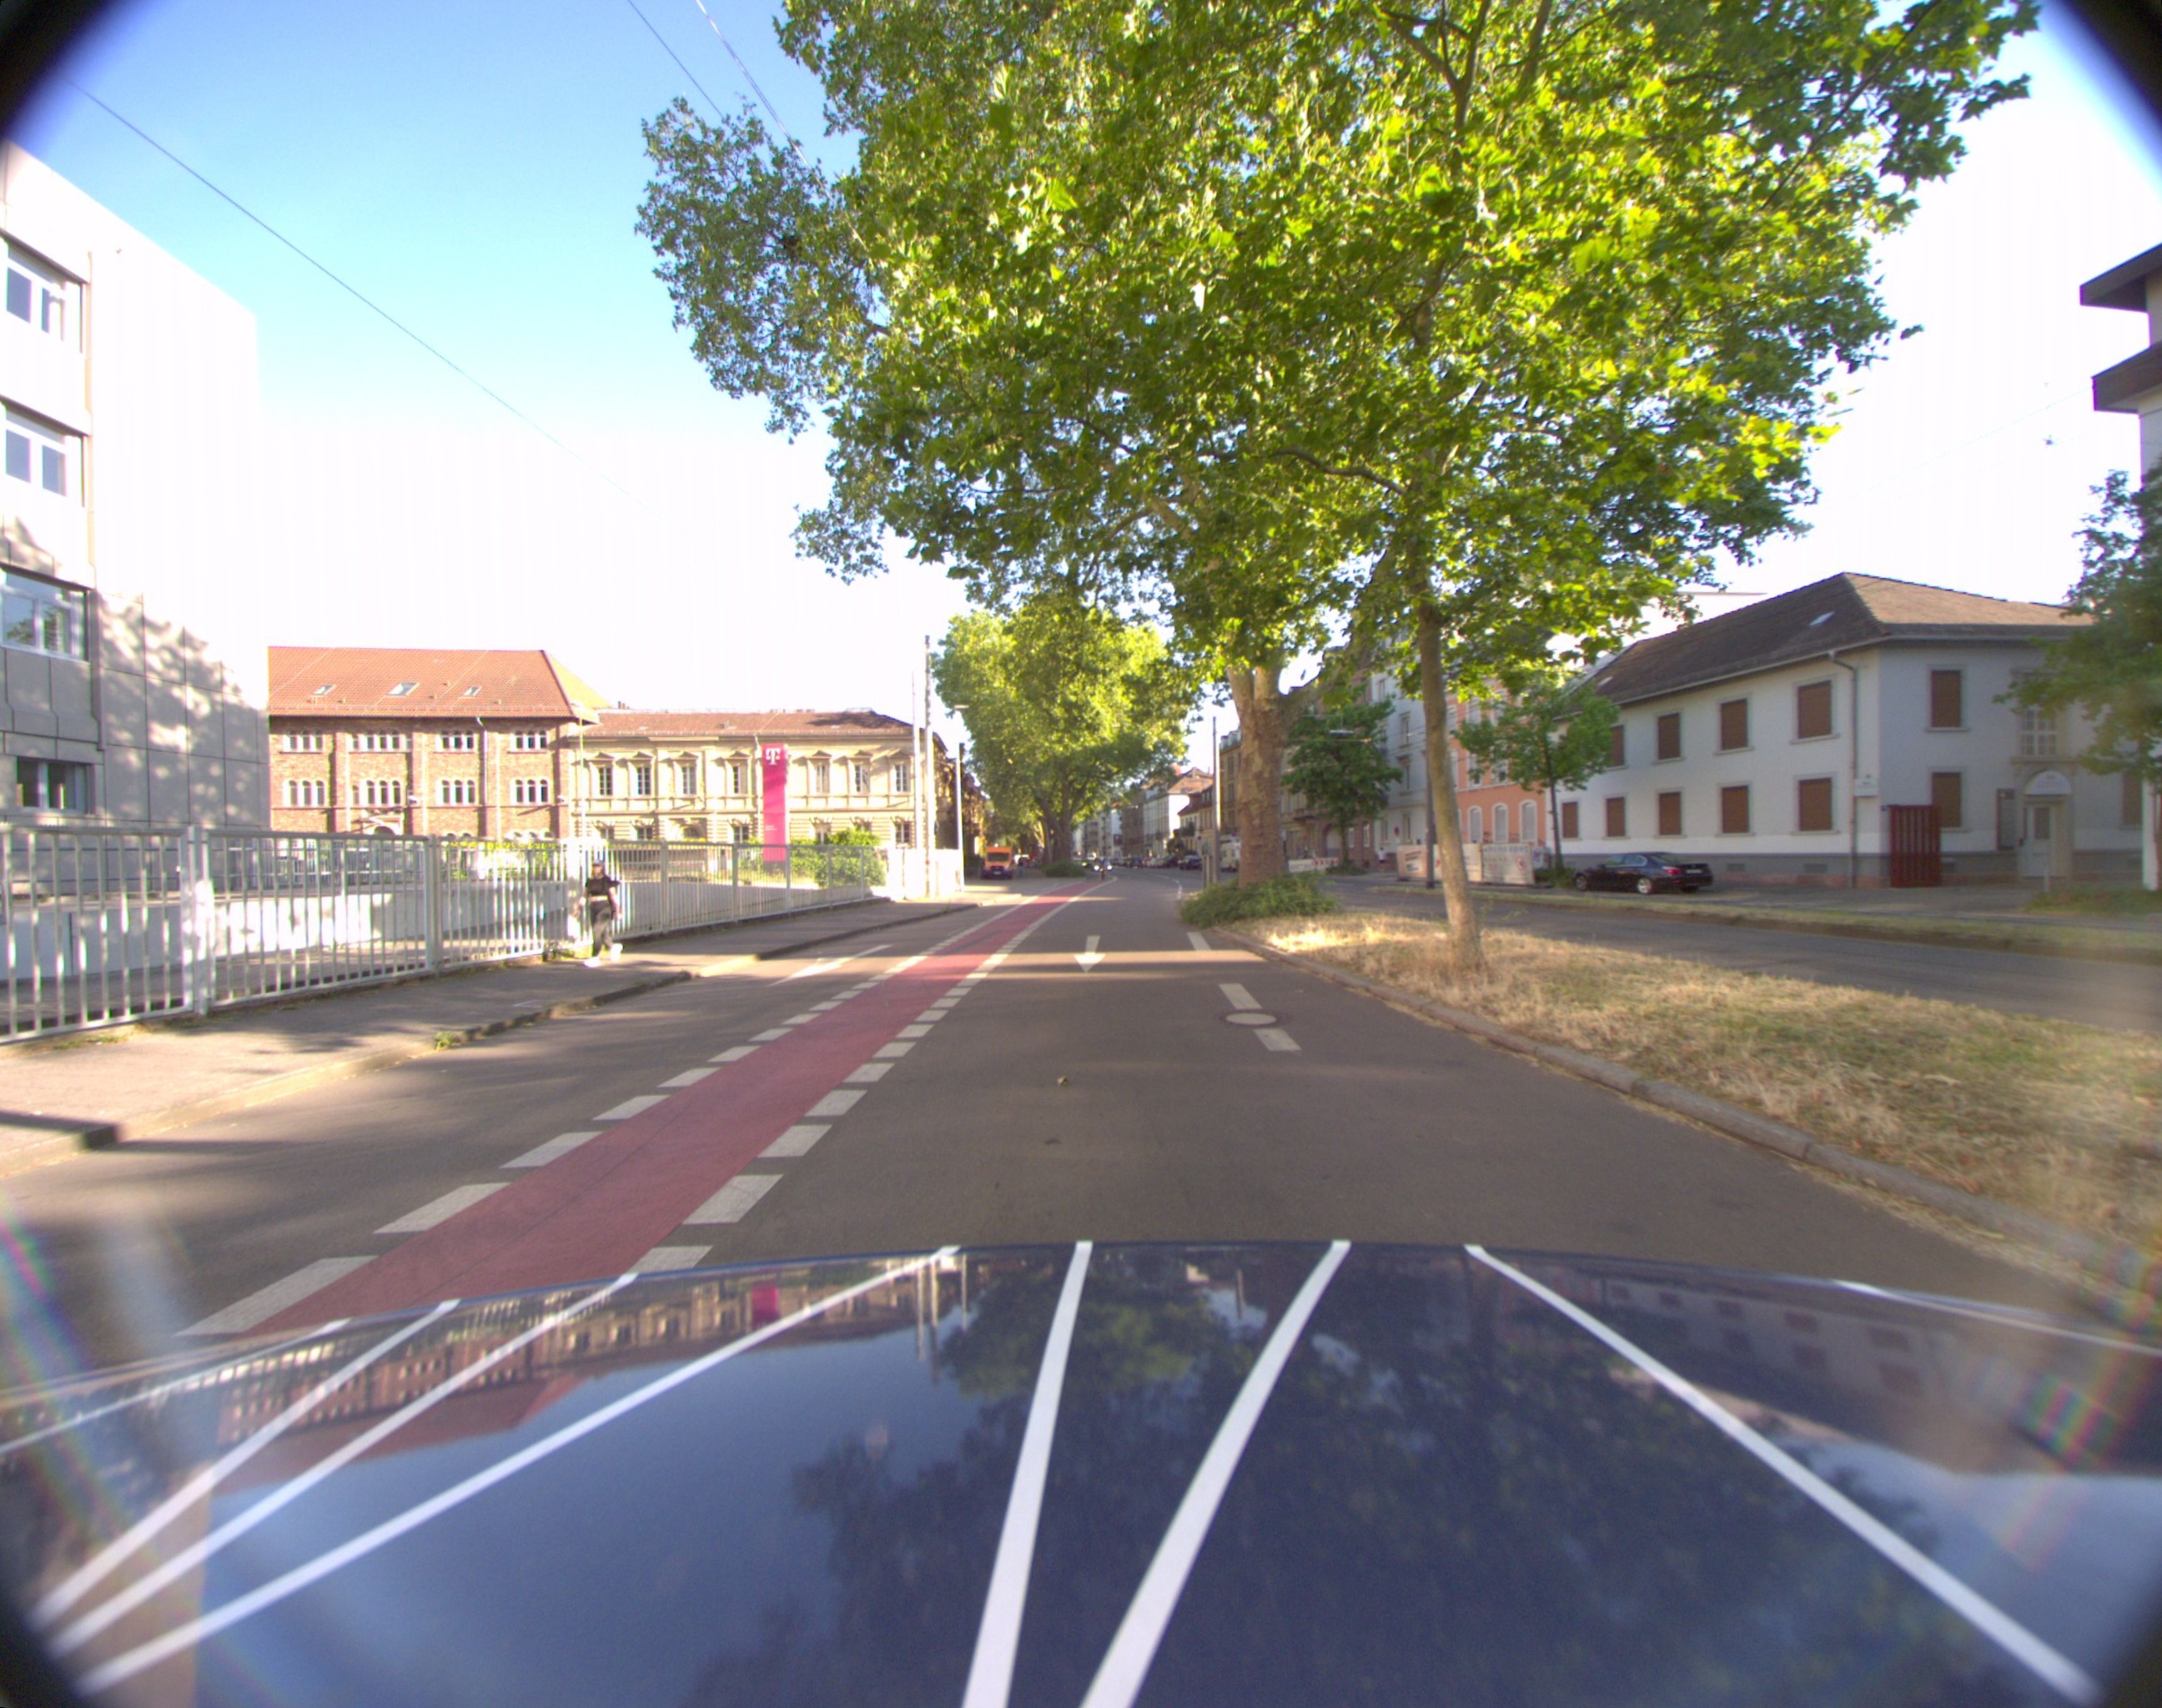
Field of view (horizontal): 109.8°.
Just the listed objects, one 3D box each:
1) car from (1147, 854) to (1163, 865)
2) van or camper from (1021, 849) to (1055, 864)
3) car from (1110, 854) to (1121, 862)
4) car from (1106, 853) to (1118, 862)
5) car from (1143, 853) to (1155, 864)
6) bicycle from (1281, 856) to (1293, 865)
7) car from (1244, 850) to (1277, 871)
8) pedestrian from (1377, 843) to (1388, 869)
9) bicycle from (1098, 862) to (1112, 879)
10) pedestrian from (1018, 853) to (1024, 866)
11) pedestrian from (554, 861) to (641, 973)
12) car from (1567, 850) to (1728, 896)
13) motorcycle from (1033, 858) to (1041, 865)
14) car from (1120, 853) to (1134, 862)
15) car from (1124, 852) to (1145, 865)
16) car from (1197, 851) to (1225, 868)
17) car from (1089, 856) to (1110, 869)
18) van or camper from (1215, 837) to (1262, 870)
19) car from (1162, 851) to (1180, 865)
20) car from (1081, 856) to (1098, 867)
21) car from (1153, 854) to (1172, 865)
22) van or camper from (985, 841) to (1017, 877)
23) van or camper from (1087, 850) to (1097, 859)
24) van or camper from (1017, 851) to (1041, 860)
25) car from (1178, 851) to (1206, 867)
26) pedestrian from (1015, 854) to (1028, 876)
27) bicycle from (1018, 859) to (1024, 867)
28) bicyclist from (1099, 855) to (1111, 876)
[{"bbox_3d":[11.007,0.755,113.177,1.587,1.482,4.468,-3,0,-6],"label":"car"},{"bbox_3d":[-7.751,0.508,137.737,5.931,2.484,2.218,-1,3,-7],"label":"van or camper"},{"bbox_3d":[6.996,0.787,154.186,1.799,1.368,4.081,-3,0,-5],"label":"car"},{"bbox_3d":[6.492,0.725,159.461,1.799,1.617,4.081,-3,0,-5],"label":"car"},{"bbox_3d":[10.648,0.704,118.574,1.422,1.502,3.324,-3,0,-2],"label":"car"},{"bbox_3d":[19.593,0.614,72.221,0.580,0.919,1.791,-1,0,-3],"label":"bicycle"},{"bbox_3d":[16.040,0.556,67.942,1.635,1.696,3.369,-4,1,-8],"label":"car"},{"bbox_3d":[21.357,0.126,53.787,0.599,1.807,0.481,-1,1,-5],"label":"pedestrian"},{"bbox_3d":[1.657,1.098,52.279,0.715,1.131,2.119,-1,0,-4],"label":"bicycle"},{"bbox_3d":[-7.615,0.744,96.644,0.671,1.610,1.101,1,1,-7],"label":"pedestrian"},{"bbox_3d":[-7.532,0.955,11.872,0.697,1.674,0.930,-1,1,4],"label":"pedestrian"},{"bbox_3d":[20.223,0.621,27.428,1.999,1.505,4.722,-1,0,-6],"label":"car"},{"bbox_3d":[-6.755,1.108,117.437,1.274,1.048,0.394,-1,1,-42],"label":"motorcycle"},{"bbox_3d":[8.355,0.672,139.155,1.799,1.630,4.252,-3,0,-5],"label":"car"},{"bbox_3d":[7.246,0.552,103.298,2.000,1.679,4.307,-1,0,-7],"label":"car"},{"bbox_3d":[14.285,0.625,83.541,1.816,1.695,4.441,-4,0,-6],"label":"car"},{"bbox_3d":[2.061,0.907,85.303,1.740,1.365,3.917,-3,0,-6],"label":"car"},{"bbox_3d":[15.244,-0.053,74.160,2.426,2.930,7.248,-4,0,-4],"label":"van or camper"},{"bbox_3d":[12.247,0.537,103.425,1.729,1.736,3.624,-4,0,-4],"label":"car"},{"bbox_3d":[1.149,1.005,99.891,1.740,1.365,3.917,-3,0,-6],"label":"car"},{"bbox_3d":[11.552,0.718,107.780,1.668,1.446,4.402,-4,0,-6],"label":"car"},{"bbox_3d":[-5.940,0.352,56.876,2.041,2.544,5.771,-1,0,-3],"label":"van or camper"},{"bbox_3d":[2.869,0.089,195.475,1.946,2.267,4.595,-3,0,-6],"label":"van or camper"},{"bbox_3d":[-13.507,0.398,197.605,6.102,2.417,2.427,-1,0,-5],"label":"van or camper"},{"bbox_3d":[13.283,0.623,91.172,1.999,1.693,4.748,-4,0,-6],"label":"car"},{"bbox_3d":[-4.843,0.870,61.602,0.654,1.726,1.005,-1,1,-30],"label":"pedestrian"},{"bbox_3d":[-7.639,1.113,96.777,0.677,1.026,1.899,1,0,-7],"label":"bicycle"},{"bbox_3d":[1.647,0.809,52.376,0.715,1.435,0.953,-1,0,-5],"label":"bicyclist"}]
